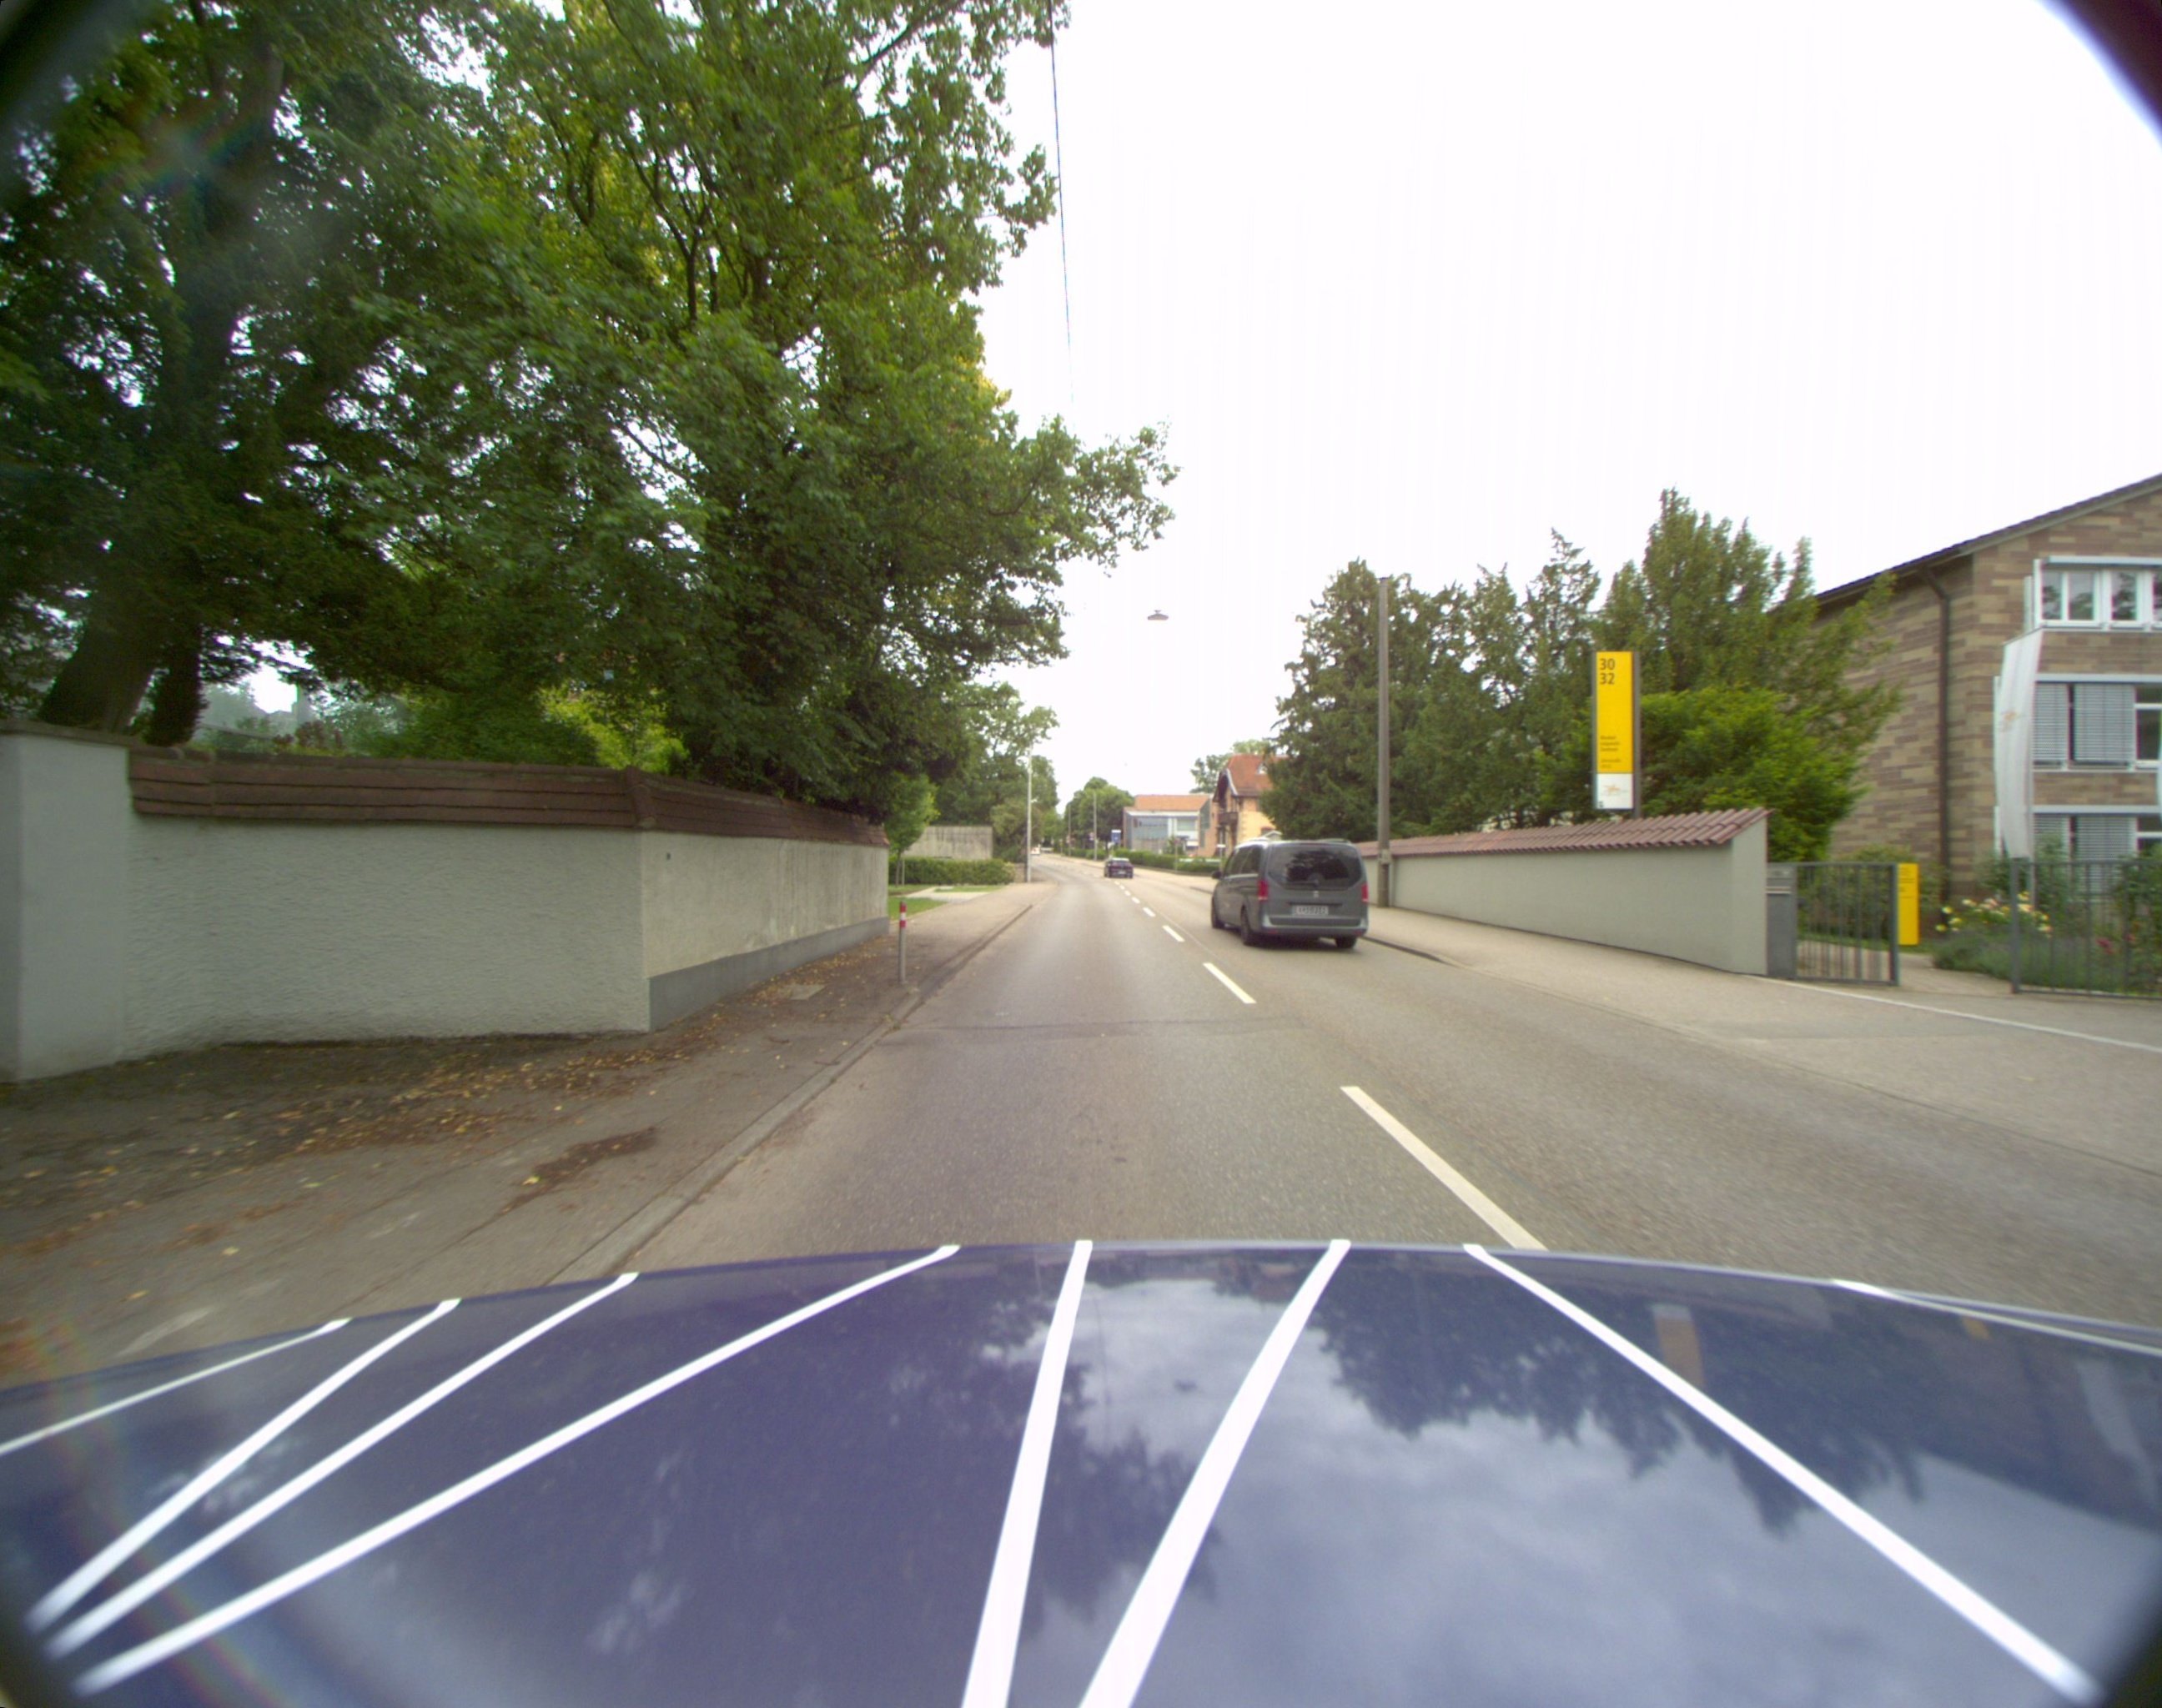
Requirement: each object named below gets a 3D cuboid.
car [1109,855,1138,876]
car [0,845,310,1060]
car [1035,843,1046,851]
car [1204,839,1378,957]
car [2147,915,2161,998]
[{"bbox_3d":[3.057,0.817,55.455,1.790,1.420,3.999,0,0,-2],"label":"car"},{"bbox_3d":[-9.009,0.740,6.082,1.756,1.478,3.997,4,0,-5],"label":"car"},{"bbox_3d":[-8.136,-1.411,153.370,2.000,1.701,3.997,0,1,-7],"label":"car"},{"bbox_3d":[3.741,0.694,14.593,1.895,1.845,5.082,1,0,0],"label":"car"},{"bbox_3d":[20.139,1.885,12.027,1.647,1.497,3.862,2,0,14],"label":"car"}]
